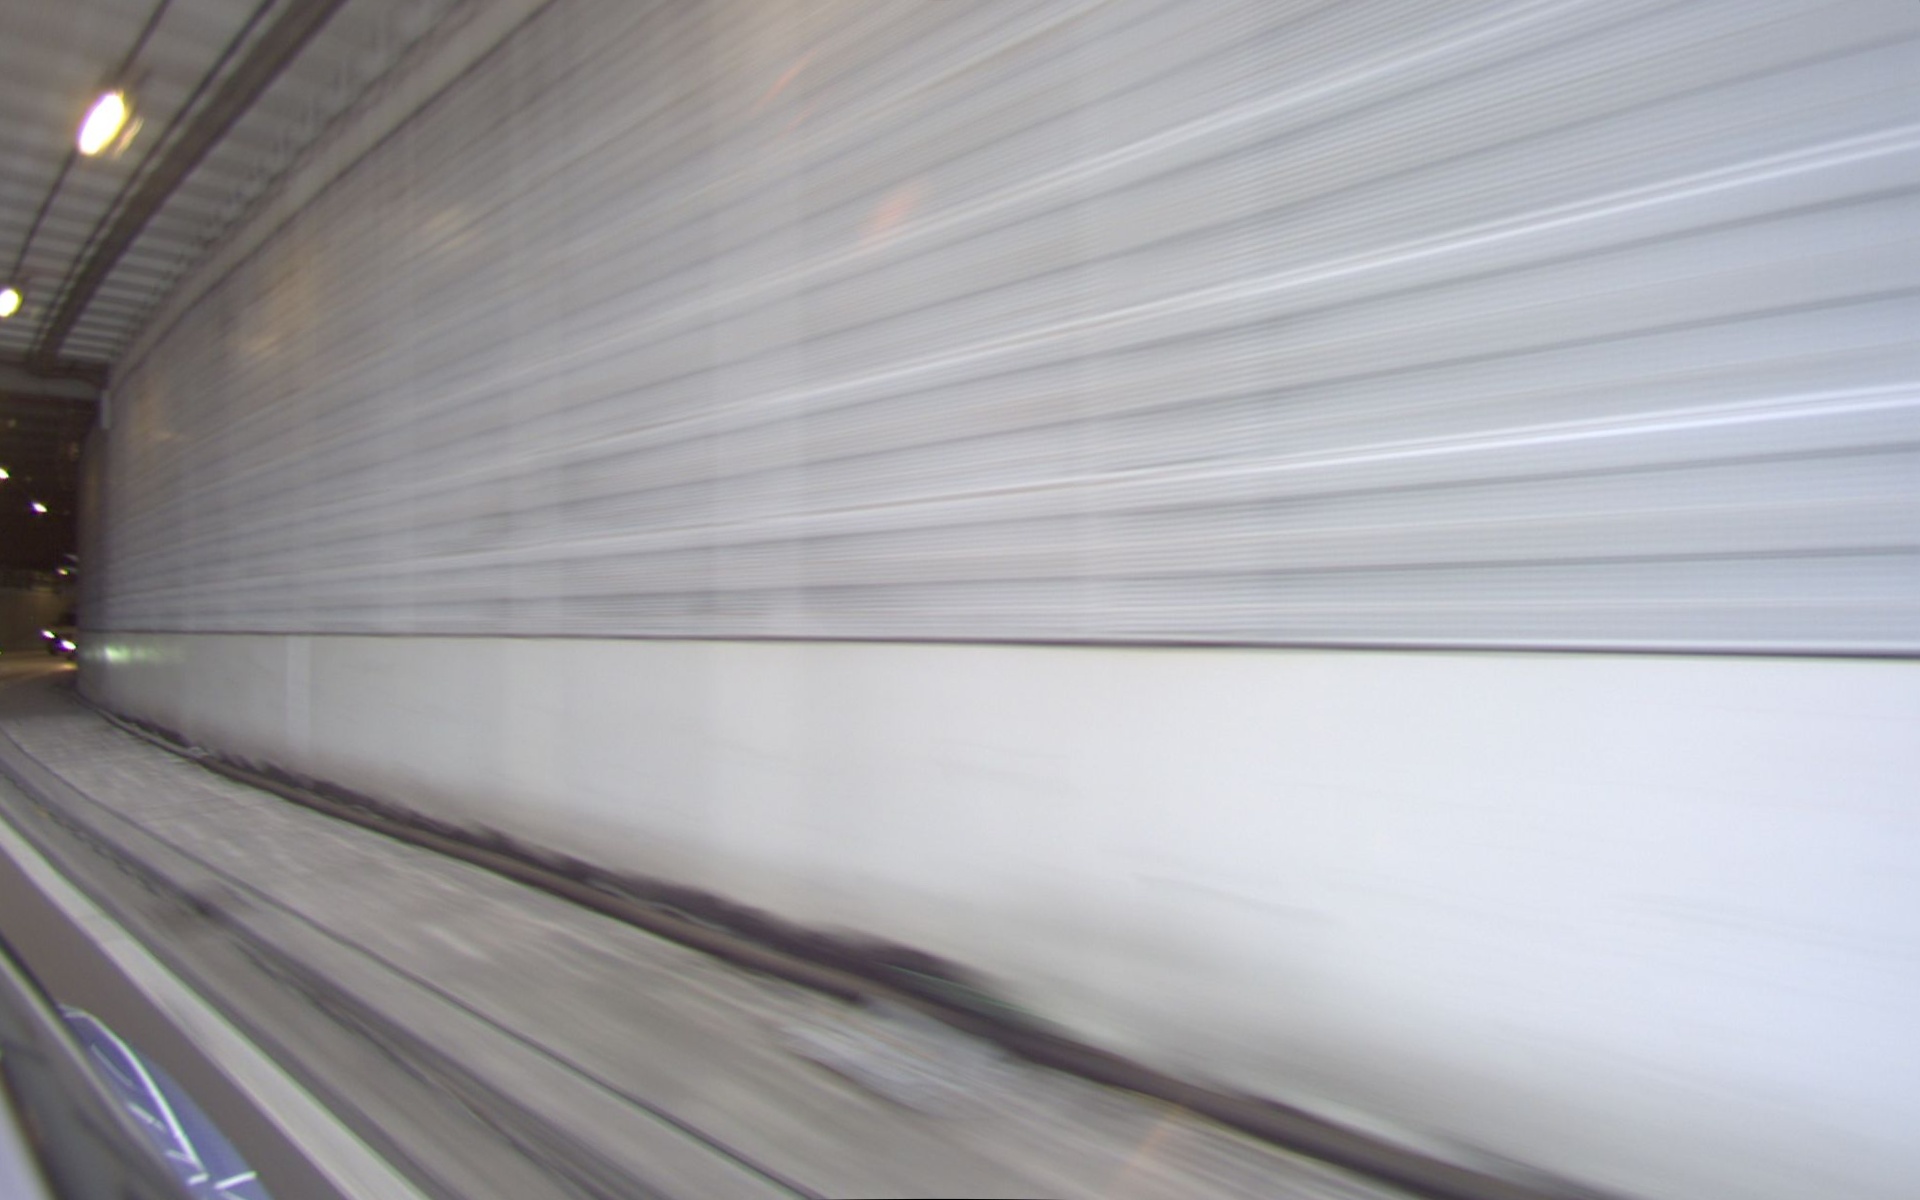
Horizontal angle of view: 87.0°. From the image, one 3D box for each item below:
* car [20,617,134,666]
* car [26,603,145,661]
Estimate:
[{"bbox_3d":[-39.055,1.793,44.935,2.335,1.939,5.216,-2,0,-24],"label":"car"},{"bbox_3d":[-45.396,1.657,52.821,2.517,2.789,7.375,0,-2,-23],"label":"car"}]
